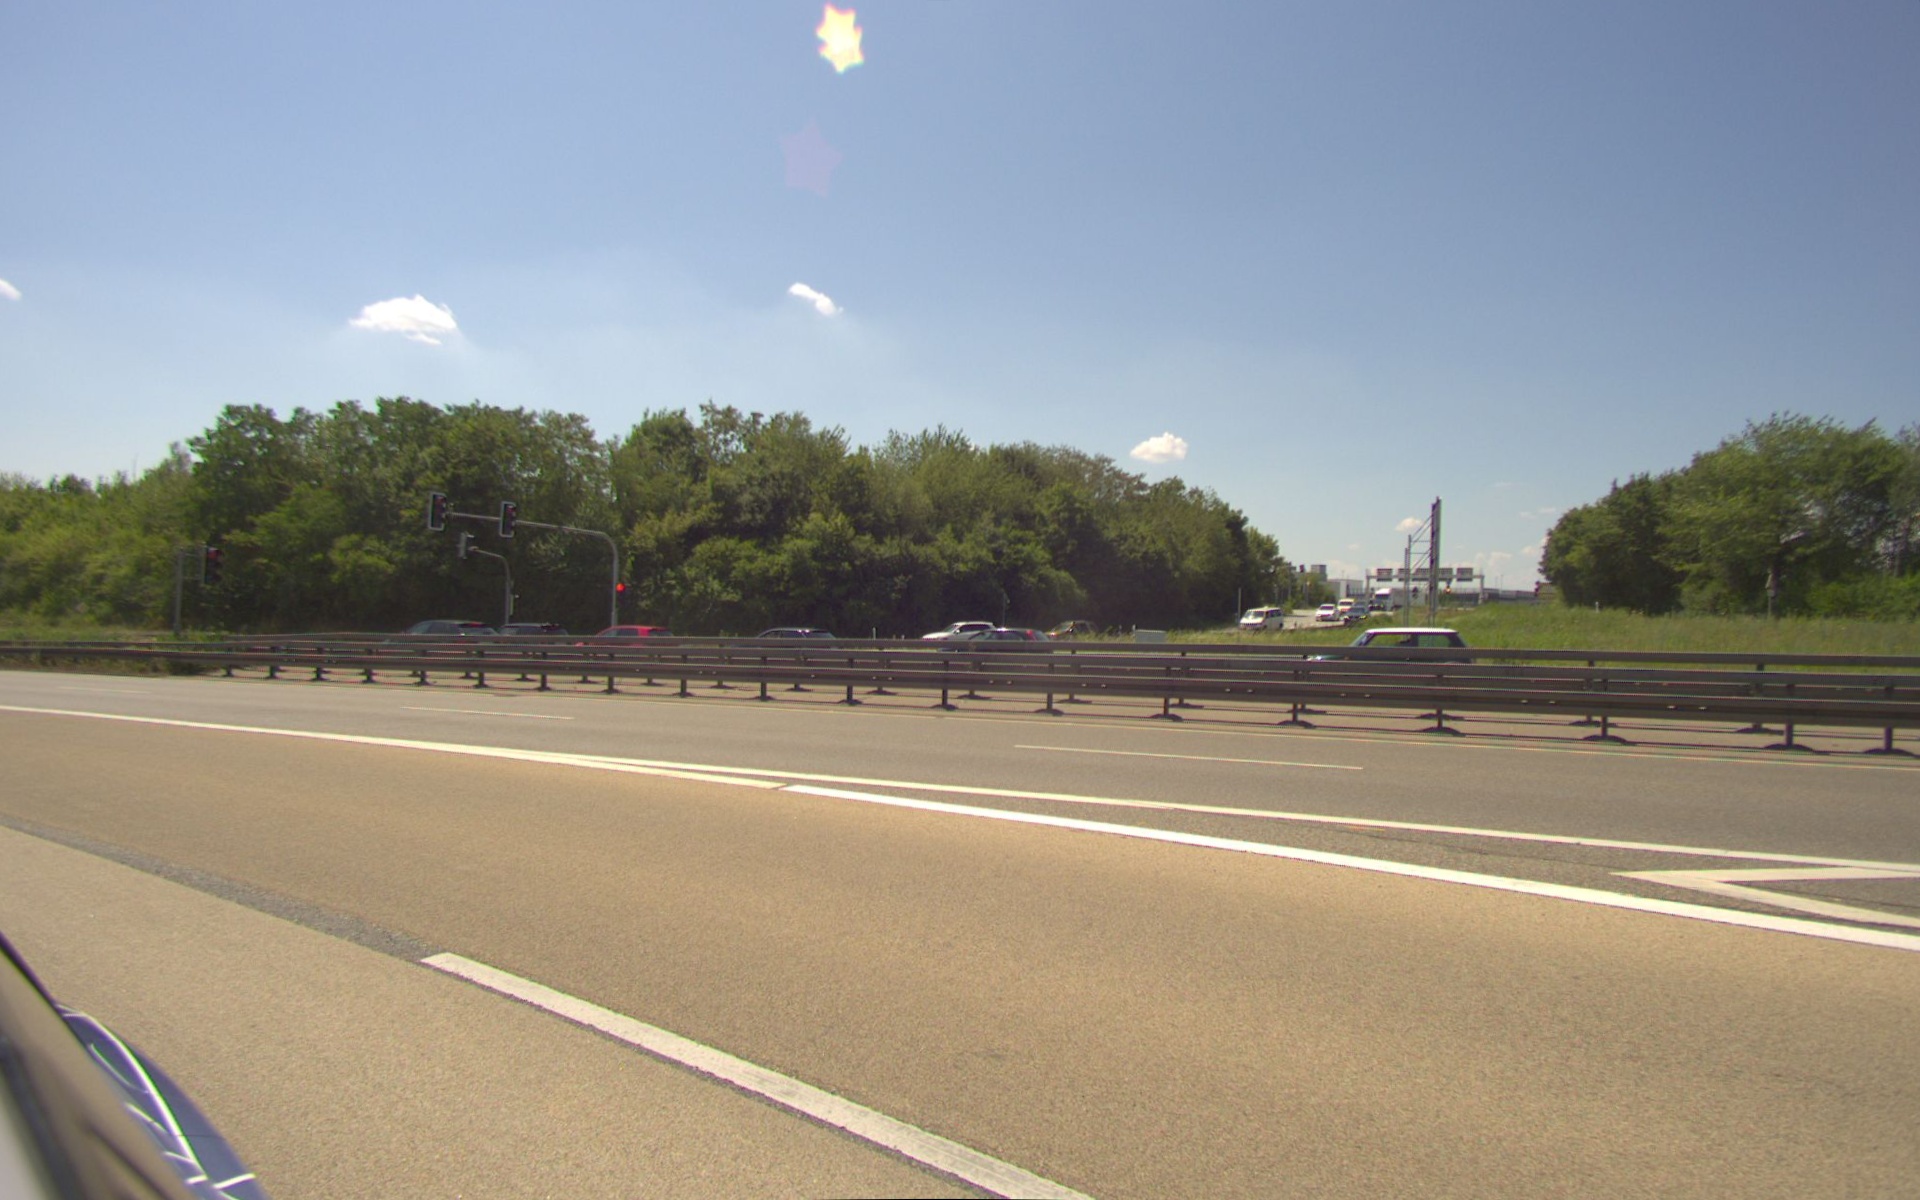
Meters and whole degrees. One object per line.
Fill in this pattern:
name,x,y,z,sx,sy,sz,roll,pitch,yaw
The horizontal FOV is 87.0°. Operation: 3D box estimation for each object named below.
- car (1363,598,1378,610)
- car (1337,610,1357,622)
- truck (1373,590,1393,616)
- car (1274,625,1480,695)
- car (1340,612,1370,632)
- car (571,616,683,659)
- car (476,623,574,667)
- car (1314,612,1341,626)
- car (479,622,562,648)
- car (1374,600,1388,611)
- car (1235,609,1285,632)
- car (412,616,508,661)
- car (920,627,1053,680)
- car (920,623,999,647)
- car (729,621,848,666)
car,54.197,0.501,133.594,1.591,1.443,3.539,-1,-3,25
car,41.784,1.733,109.181,1.526,1.175,4.036,-1,-2,28
truck,68.161,0.541,162.961,2.816,4.190,3.965,-1,-1,26
car,8.786,1.218,21.434,3.902,1.358,1.505,-1,-1,27
car,34.837,1.953,89.291,1.991,1.721,4.176,-1,-1,28
car,-11.855,1.308,36.022,3.680,1.461,1.555,-1,-1,23
car,-14.148,1.430,32.923,3.001,1.359,1.332,-1,-1,27
car,35.388,1.838,97.352,1.688,1.346,3.428,-1,-1,33
car,-21.124,1.691,48.720,3.318,1.231,1.711,0,-1,-5
car,58.589,0.771,140.874,1.591,1.443,3.539,-1,-3,25
car,23.130,1.584,77.822,2.015,1.653,5.048,-1,-2,37
car,-14.692,1.114,29.707,2.714,1.246,1.146,-1,-1,27
car,0.771,1.546,29.868,3.648,1.461,1.474,-1,-1,27
car,-0.032,1.858,53.949,3.877,1.231,1.715,1,-1,-26
car,-5.560,1.384,32.834,3.553,1.404,1.639,-1,-1,27
